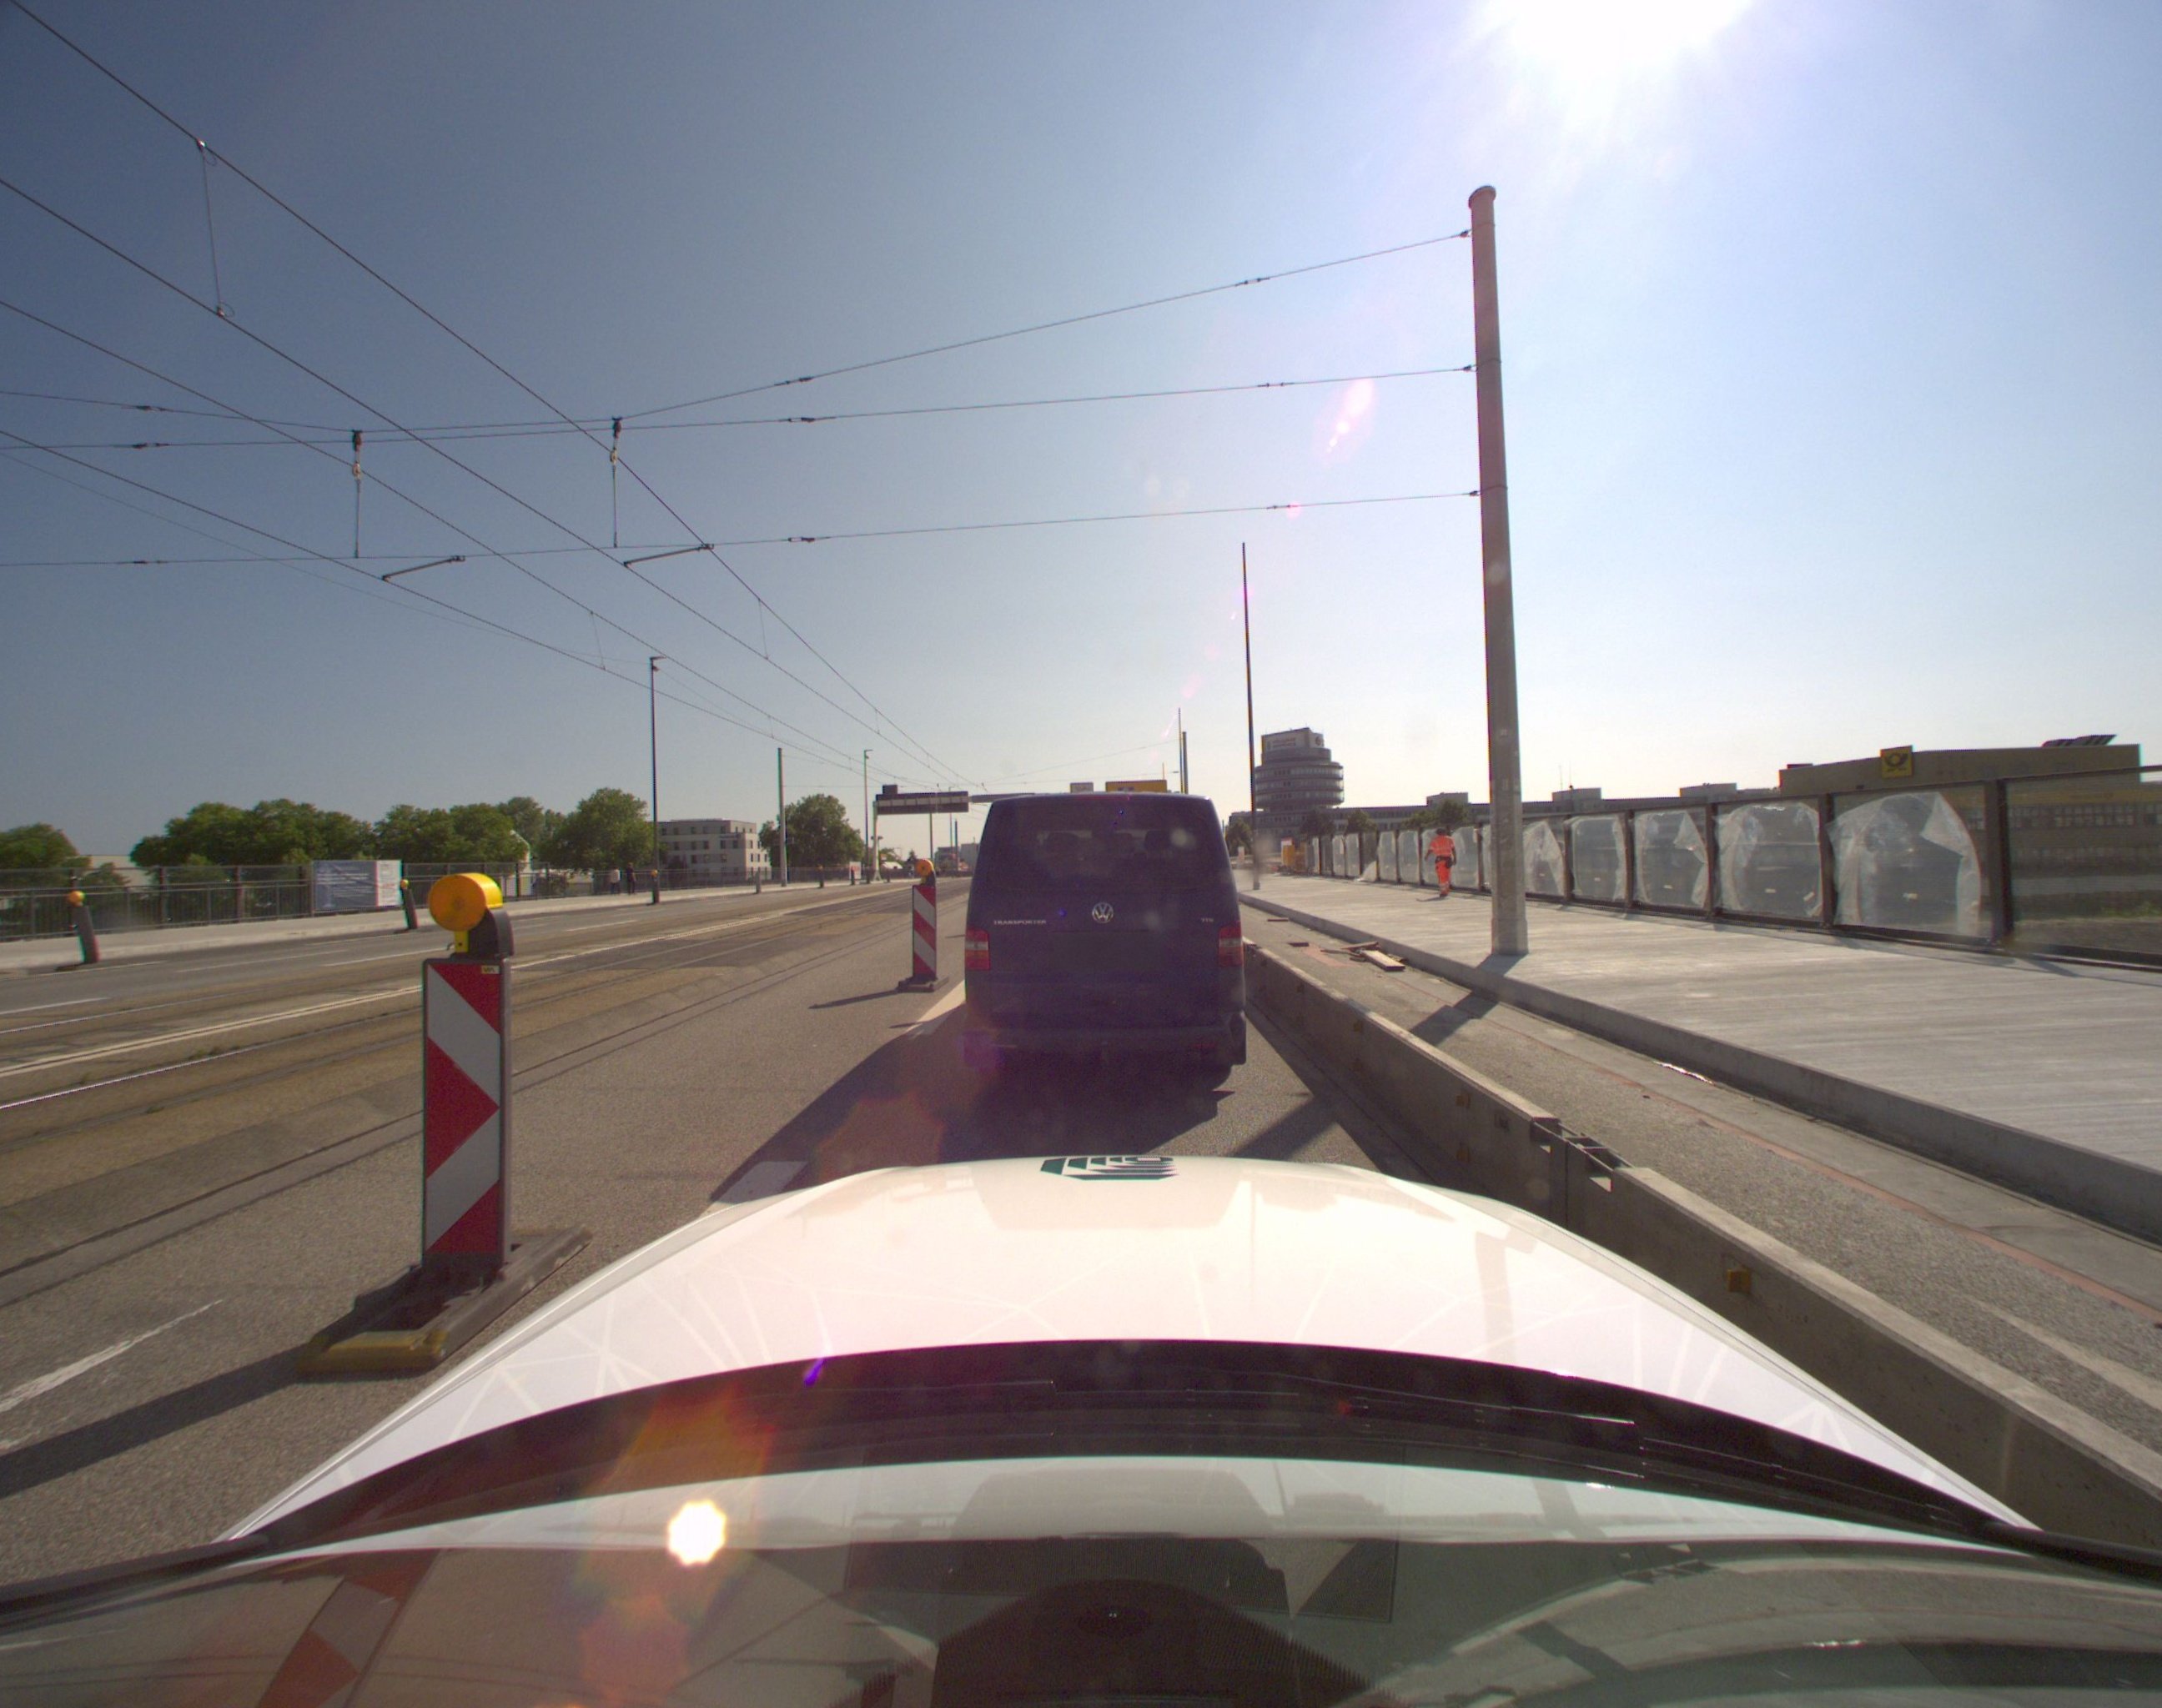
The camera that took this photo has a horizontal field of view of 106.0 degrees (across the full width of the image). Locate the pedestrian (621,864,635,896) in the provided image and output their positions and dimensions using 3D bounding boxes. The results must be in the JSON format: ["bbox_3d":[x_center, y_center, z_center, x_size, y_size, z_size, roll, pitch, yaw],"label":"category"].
[{"bbox_3d":[-24.361,1.382,43.812,0.493,1.694,0.474,-1,-1,1],"label":"pedestrian"}]

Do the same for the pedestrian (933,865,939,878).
[{"bbox_3d":[-20.325,2.440,113.956,0.631,1.774,0.752,-1,0,1],"label":"pedestrian"}]

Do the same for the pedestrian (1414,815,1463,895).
[{"bbox_3d":[8.941,0.034,20.372,0.779,1.935,0.800,-3,-1,1],"label":"pedestrian"}]

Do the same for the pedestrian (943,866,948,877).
[{"bbox_3d":[-19.448,2.464,116.925,0.631,1.598,0.752,-1,0,1],"label":"pedestrian"}]

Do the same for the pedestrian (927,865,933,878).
[{"bbox_3d":[-21.043,2.416,113.520,0.632,1.752,0.752,-1,0,1],"label":"pedestrian"}]

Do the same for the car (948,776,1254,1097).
[{"bbox_3d":[0.175,0.501,6.971,1.809,1.905,4.056,-1,0,1],"label":"car"}]

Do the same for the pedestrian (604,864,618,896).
[{"bbox_3d":[-25.319,1.384,43.857,0.493,1.694,0.474,-1,-1,1],"label":"pedestrian"}]

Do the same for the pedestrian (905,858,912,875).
[{"bbox_3d":[-19.835,1.465,93.796,0.631,1.893,0.752,-1,0,1],"label":"pedestrian"}]
